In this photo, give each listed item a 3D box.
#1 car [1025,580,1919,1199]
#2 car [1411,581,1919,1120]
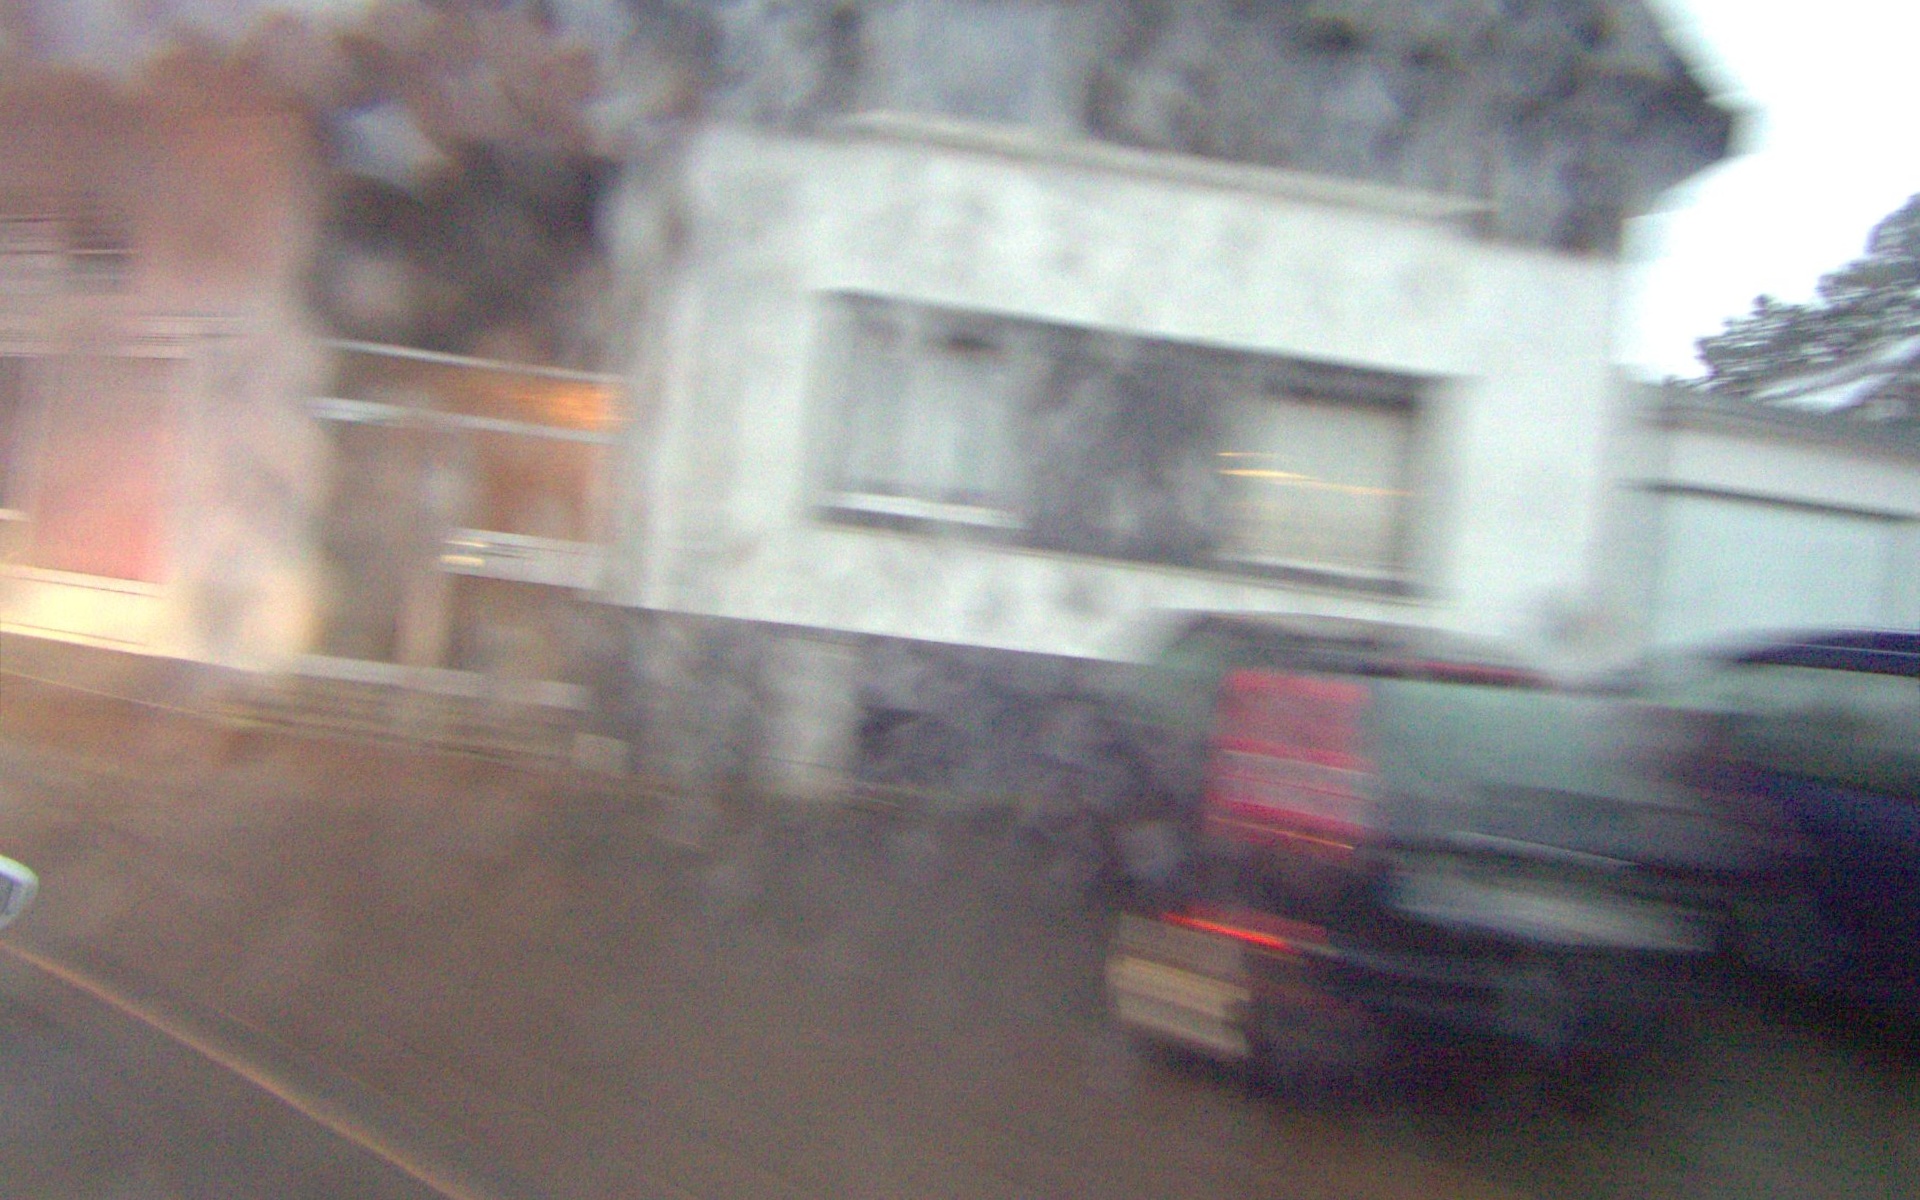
[{"bbox_3d":[1.521,0.784,4.599,1.854,1.470,3.886,5,3,-4],"label":"car"},{"bbox_3d":[4.071,0.912,4.308,1.822,1.683,4.467,5,3,-5],"label":"car"}]
